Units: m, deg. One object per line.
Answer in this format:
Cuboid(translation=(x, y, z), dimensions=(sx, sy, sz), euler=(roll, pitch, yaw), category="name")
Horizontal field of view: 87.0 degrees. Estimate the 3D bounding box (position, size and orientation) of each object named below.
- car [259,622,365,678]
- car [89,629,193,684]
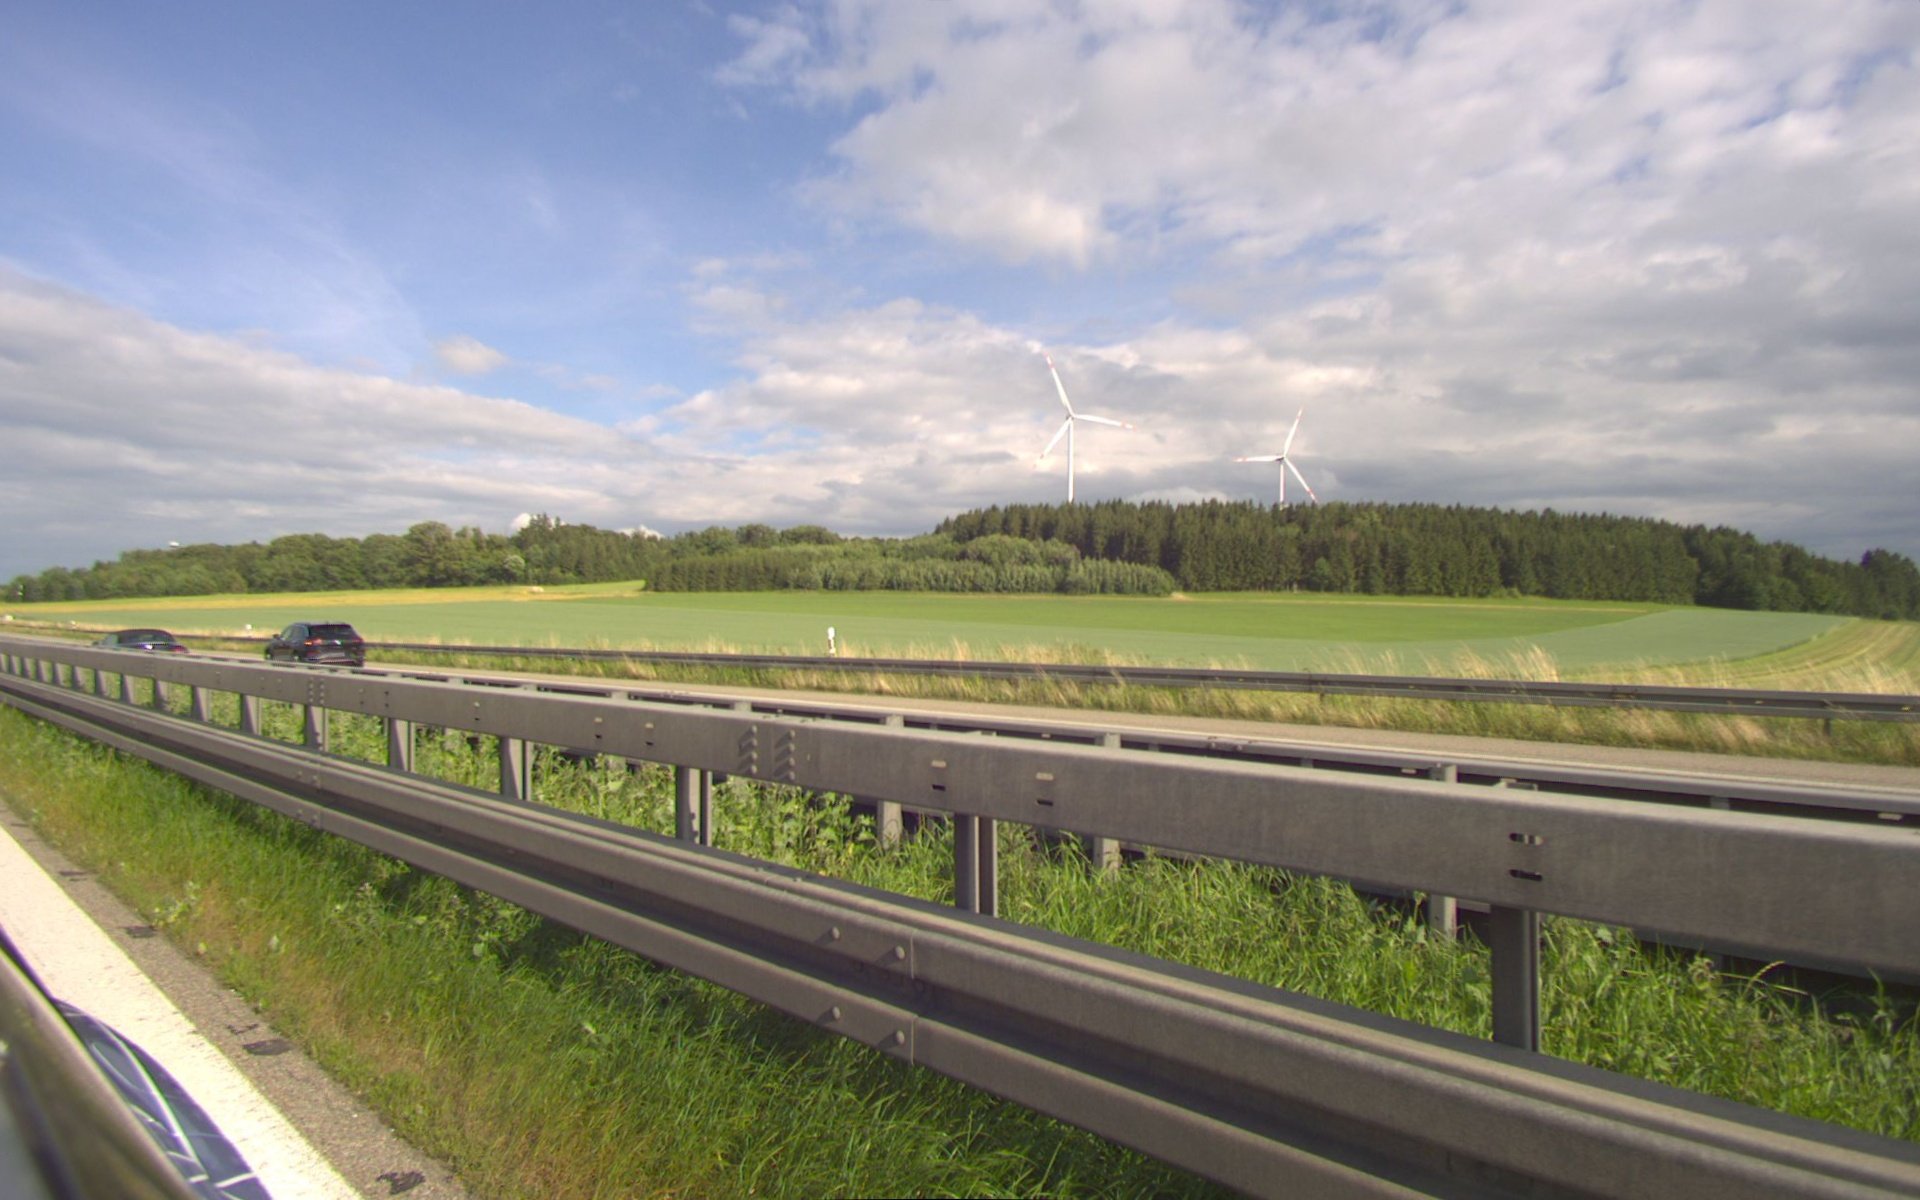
Cuboid(translation=(-19.792, 1.480, 30.861), dimensions=(3.997, 1.532, 1.599), euler=(0, 0, 40), category="car")
Cuboid(translation=(-23.659, 1.581, 29.203), dimensions=(3.997, 1.402, 1.599), euler=(0, 0, 40), category="car")
